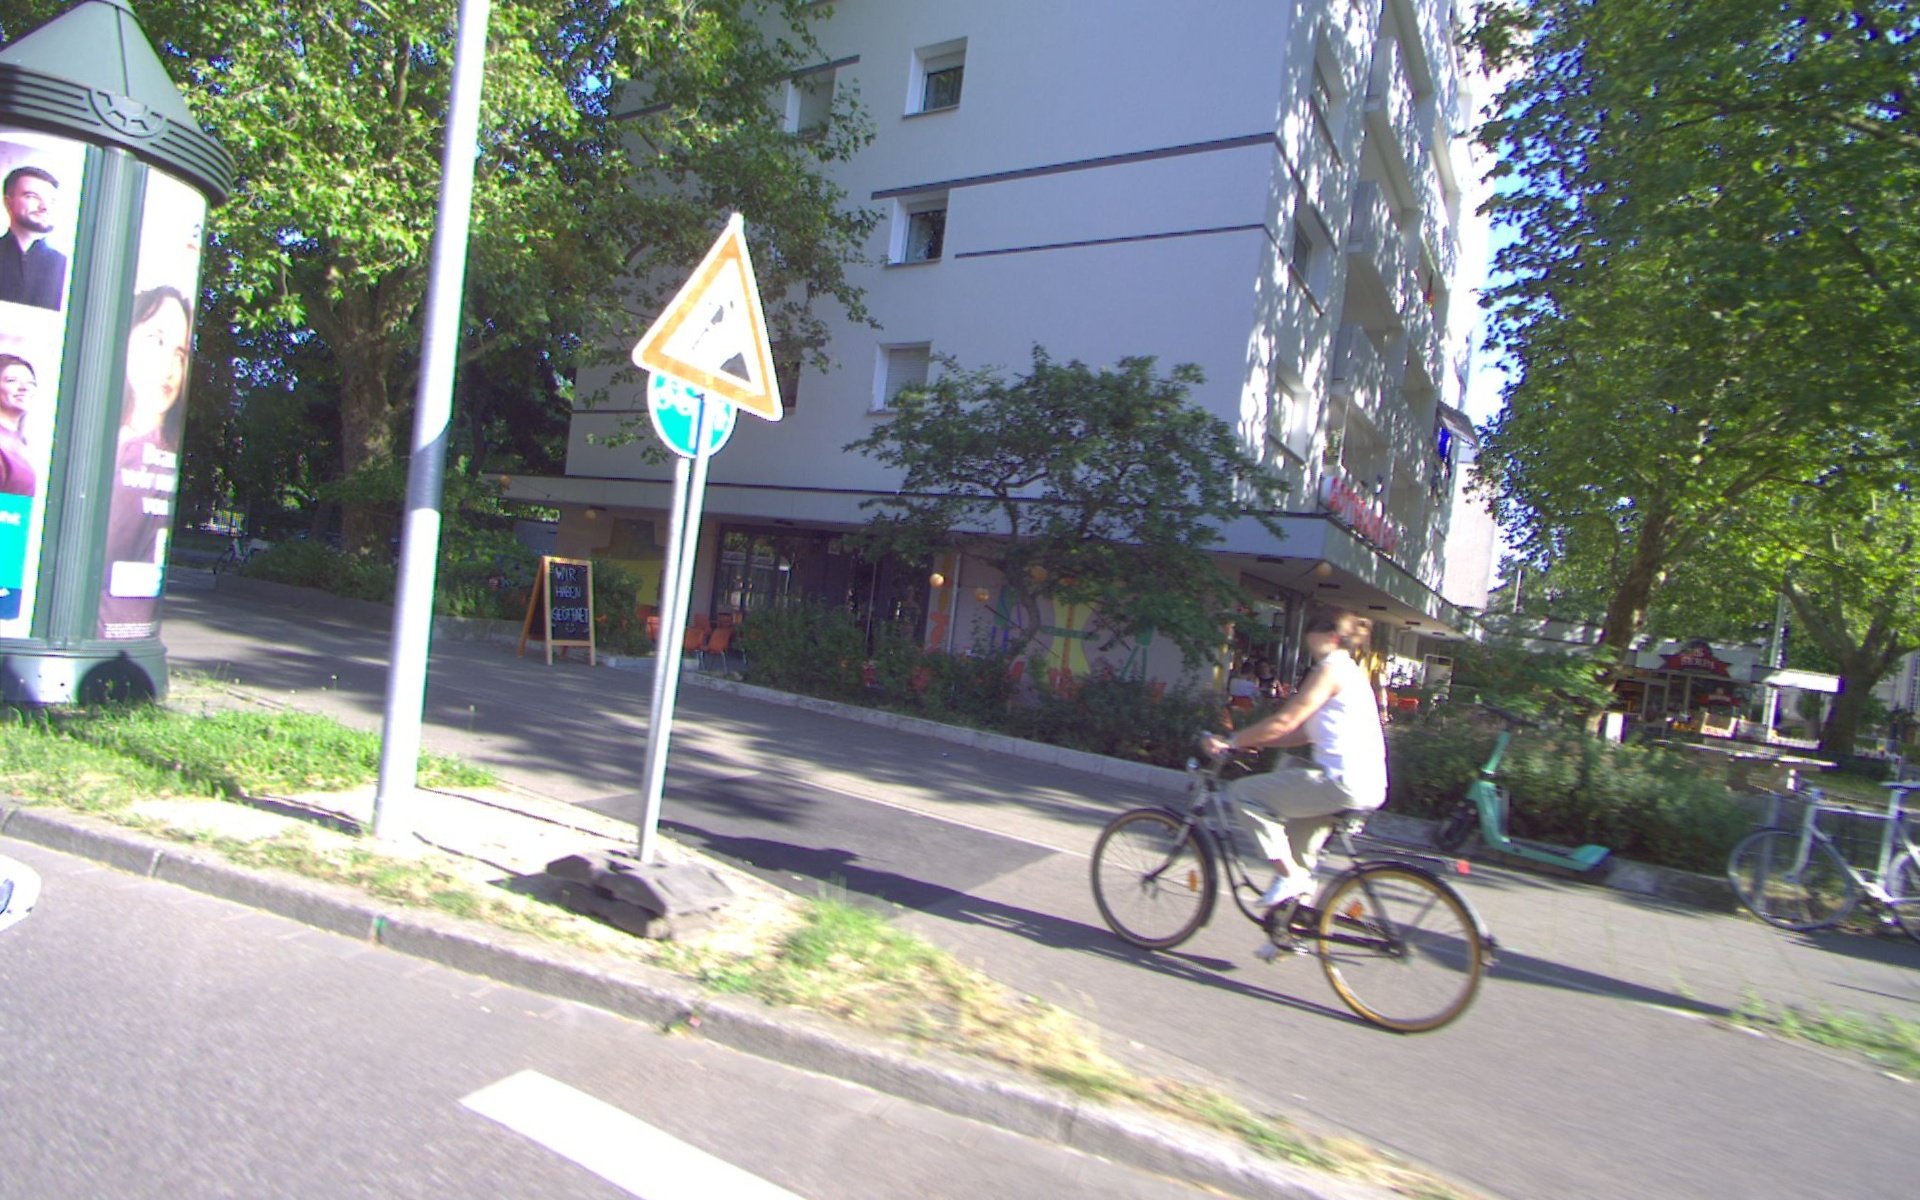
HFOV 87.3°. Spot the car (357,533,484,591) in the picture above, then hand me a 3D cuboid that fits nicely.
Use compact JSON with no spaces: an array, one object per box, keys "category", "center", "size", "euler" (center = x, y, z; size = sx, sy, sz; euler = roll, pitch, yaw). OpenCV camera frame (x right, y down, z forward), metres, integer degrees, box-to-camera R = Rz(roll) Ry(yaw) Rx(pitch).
[{"category":"car","center":[-19.056,-1.342,35.516],"size":[3.931,1.469,1.999],"euler":[7,-3,29]}]

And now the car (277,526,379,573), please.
[{"category":"car","center":[-27.705,-2.198,44.096],"size":[3.931,1.469,1.999],"euler":[7,-3,29]}]

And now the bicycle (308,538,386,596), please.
[{"category":"bicycle","center":[-14.939,-0.806,24.520],"size":[1.790,1.191,0.790],"euler":[7,-2,32]}]

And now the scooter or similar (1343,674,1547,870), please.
[{"category":"scooter or similar","center":[3.770,1.291,7.858],"size":[1.268,1.273,0.561],"euler":[6,1,29]}]

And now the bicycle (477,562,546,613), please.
[{"category":"bicycle","center":[-12.628,-0.365,28.319],"size":[1.790,1.191,0.790],"euler":[7,-2,32]}]

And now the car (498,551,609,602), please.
[{"category":"car","center":[-16.349,-0.952,40.457],"size":[3.931,1.469,1.999],"euler":[7,-3,29]}]

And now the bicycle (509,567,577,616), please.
[{"category":"bicycle","center":[-12.094,-0.248,29.159],"size":[1.790,1.191,0.790],"euler":[7,-2,32]}]

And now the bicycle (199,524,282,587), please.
[{"category":"bicycle","center":[-16.271,-1.008,22.738],"size":[1.790,1.191,0.790],"euler":[7,-2,32]}]

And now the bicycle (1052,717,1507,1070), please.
[{"category":"bicycle","center":[1.373,1.180,4.471],"size":[1.737,1.039,0.604],"euler":[7,0,32]}]

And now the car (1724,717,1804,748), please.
[{"category":"car","center":[50.156,8.257,62.876],"size":[1.899,1.376,4.445],"euler":[8,-3,11]}]

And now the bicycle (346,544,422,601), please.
[{"category":"bicycle","center":[-14.465,-0.703,25.261],"size":[1.790,1.191,0.790],"euler":[7,-2,32]}]

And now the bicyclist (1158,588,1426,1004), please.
[{"category":"bicyclist","center":[1.468,0.794,4.434],"size":[0.846,1.570,0.604],"euler":[7,0,32]}]

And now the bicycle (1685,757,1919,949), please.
[{"category":"bicycle","center":[6.281,1.783,6.990],"size":[1.917,1.039,0.605],"euler":[8,1,0]}]
